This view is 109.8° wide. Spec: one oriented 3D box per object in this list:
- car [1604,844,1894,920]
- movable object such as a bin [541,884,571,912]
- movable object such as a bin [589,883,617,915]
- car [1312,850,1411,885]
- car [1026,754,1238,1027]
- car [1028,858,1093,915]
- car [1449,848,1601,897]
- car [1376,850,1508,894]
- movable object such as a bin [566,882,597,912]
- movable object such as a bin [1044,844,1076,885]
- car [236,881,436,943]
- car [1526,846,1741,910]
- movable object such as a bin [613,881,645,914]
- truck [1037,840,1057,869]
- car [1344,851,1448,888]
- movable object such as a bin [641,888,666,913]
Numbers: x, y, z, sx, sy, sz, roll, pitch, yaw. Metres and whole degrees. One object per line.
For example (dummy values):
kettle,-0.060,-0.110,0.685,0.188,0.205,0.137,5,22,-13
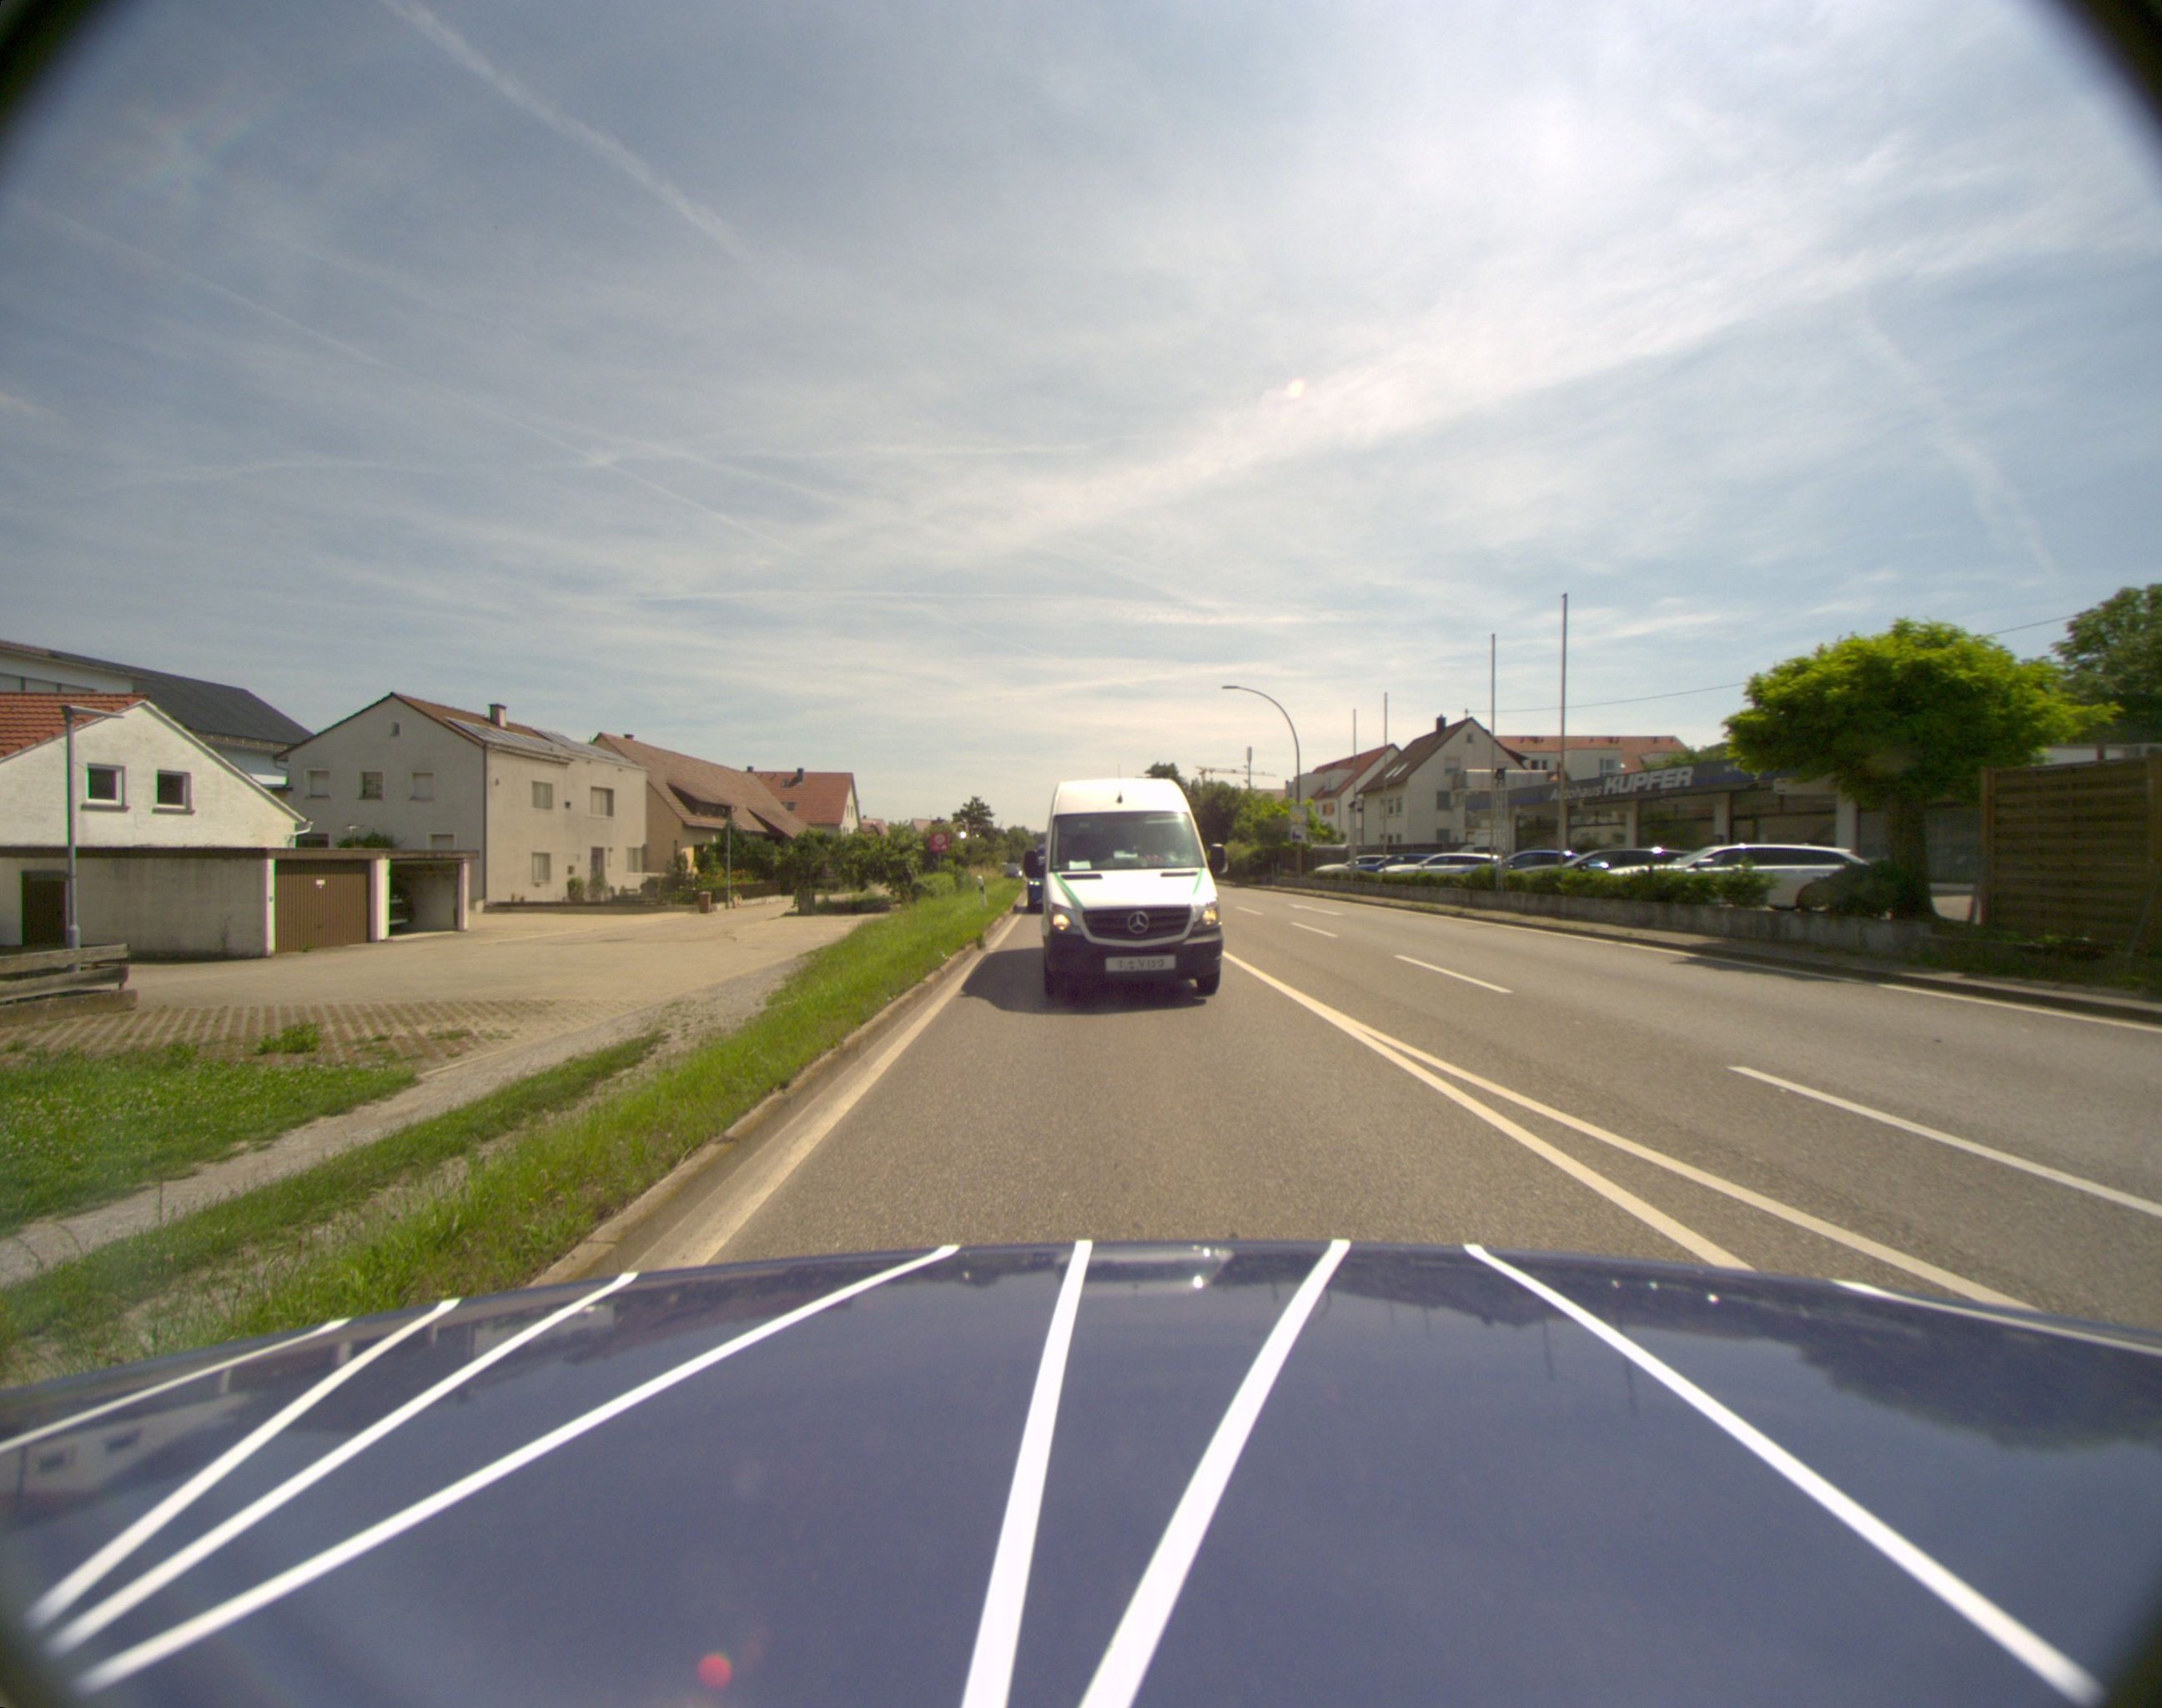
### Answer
car,14.046,0.584,16.351,4.329,1.451,1.858,-1,0,24
movable object such as a bin,-23.079,1.939,33.412,0.740,1.149,0.830,-2,0,-1
movable object such as a bin,-21.230,1.996,33.749,0.678,1.330,0.820,-2,0,-1
car,13.540,0.638,36.696,4.255,1.521,2.003,-2,0,26
car,0.457,0.369,10.184,1.978,2.583,5.633,-2,0,-1
car,-0.619,0.932,23.470,1.824,1.574,3.901,-1,0,-1
car,13.898,0.588,24.070,3.990,1.433,1.857,-2,0,25
car,13.461,0.685,28.434,4.303,1.510,2.003,-2,0,27
movable object such as a bin,-22.151,1.908,33.720,0.745,1.239,0.889,-2,0,-1
movable object such as a bin,-1.450,0.719,54.444,1.998,2.710,5.419,-1,0,1
car,-21.570,1.654,22.122,3.997,1.594,1.826,-1,0,0
car,14.314,0.628,20.015,4.251,1.536,1.853,-2,0,23
movable object such as a bin,-19.890,1.904,33.452,0.765,1.362,0.946,-2,0,-1
truck,-4.764,0.128,106.575,2.506,3.847,5.497,-2,0,-1
car,13.568,0.685,32.730,3.990,1.455,2.003,-2,0,26
movable object such as a bin,-18.883,2.048,33.546,0.645,1.021,0.756,-2,0,-1
